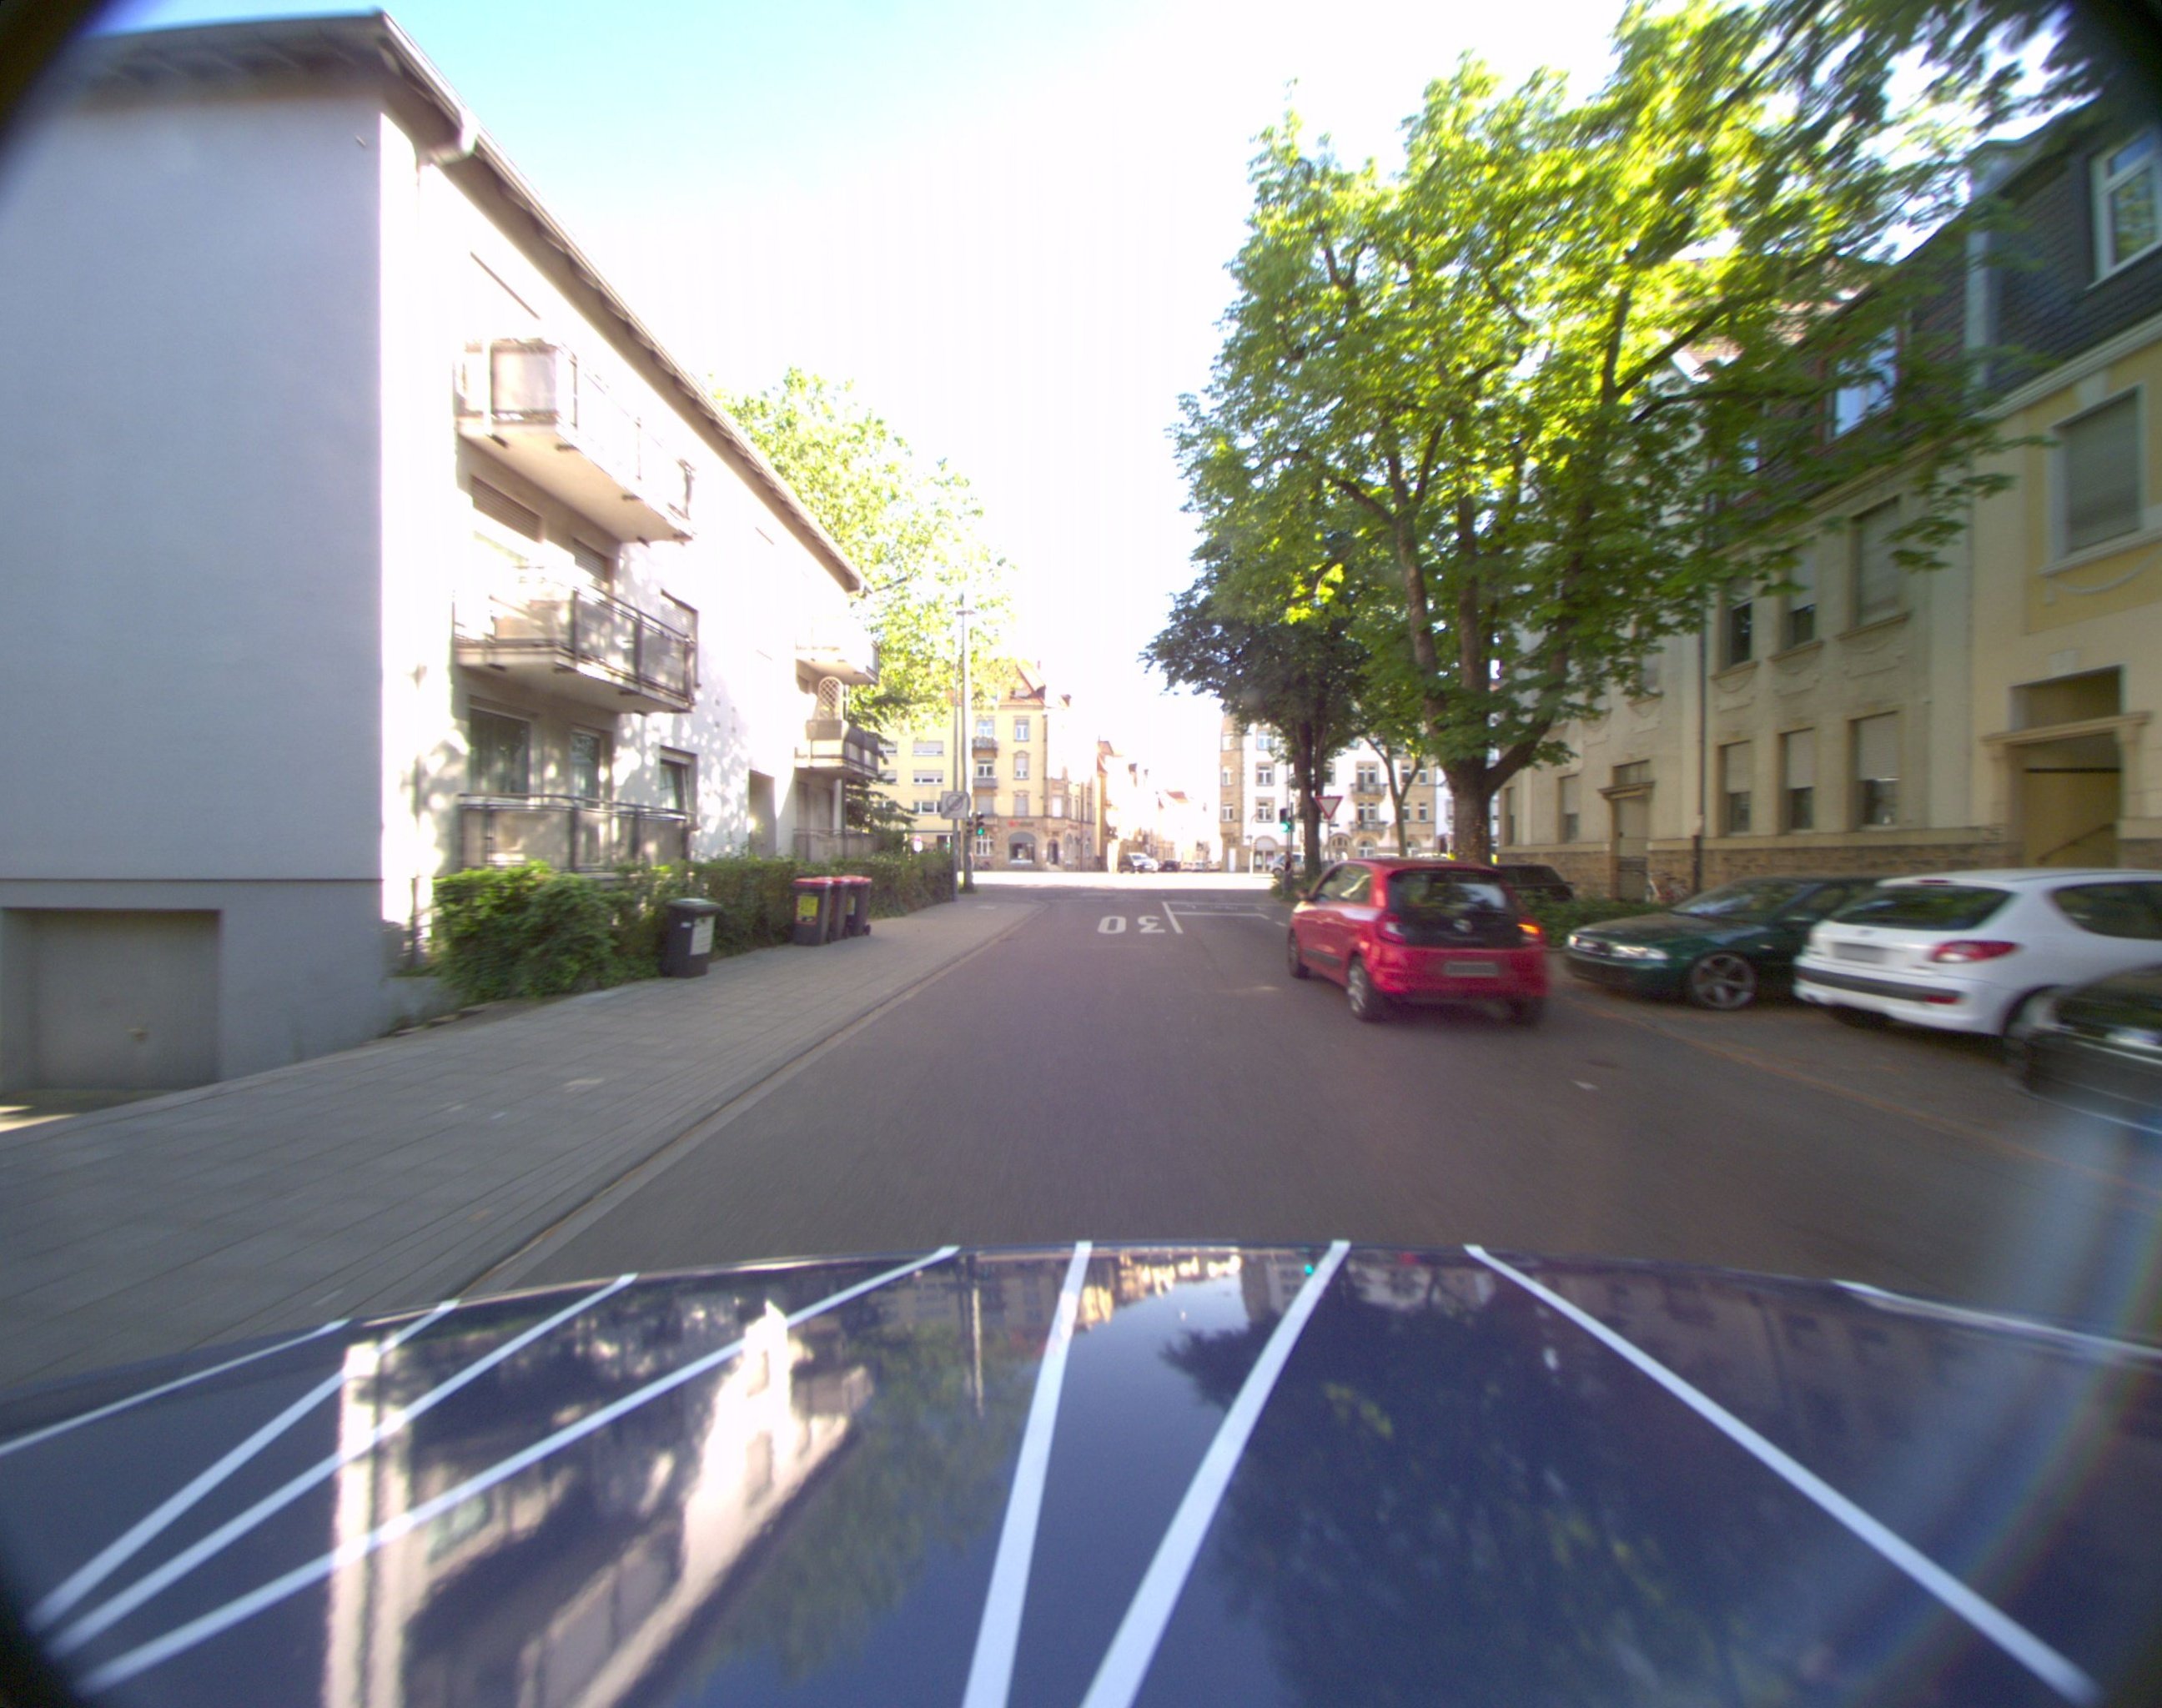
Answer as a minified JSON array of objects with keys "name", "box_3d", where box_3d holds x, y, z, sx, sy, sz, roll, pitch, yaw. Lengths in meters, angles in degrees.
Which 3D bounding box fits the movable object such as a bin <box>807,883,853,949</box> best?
[{"name":"movable object such as a bin","box_3d":[-4.255,1.033,12.901,0.484,1.038,0.657,4,1,2]}]

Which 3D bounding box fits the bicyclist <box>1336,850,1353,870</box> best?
[{"name":"bicyclist","box_3d":[19.760,0.458,57.030,1.073,1.533,0.687,0,0,3]}]

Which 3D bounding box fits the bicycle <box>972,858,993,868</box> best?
[{"name":"bicycle","box_3d":[-9.485,0.896,73.464,1.951,0.970,0.516,0,2,3]}]

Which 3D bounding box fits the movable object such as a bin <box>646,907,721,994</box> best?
[{"name":"movable object such as a bin","box_3d":[-4.686,1.124,8.988,0.504,0.910,0.573,4,1,6]}]

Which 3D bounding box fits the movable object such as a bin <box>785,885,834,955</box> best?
[{"name":"movable object such as a bin","box_3d":[-4.346,1.044,12.175,0.484,1.038,0.618,4,1,2]}]

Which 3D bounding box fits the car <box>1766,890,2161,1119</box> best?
[{"name":"car","box_3d":[7.893,1.057,5.919,3.440,1.444,1.704,0,1,6]}]

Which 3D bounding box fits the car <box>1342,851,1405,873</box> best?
[{"name":"car","box_3d":[22.998,0.640,59.941,4.236,1.634,2.001,0,-1,3]}]

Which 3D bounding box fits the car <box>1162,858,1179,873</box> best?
[{"name":"car","box_3d":[9.673,1.224,82.314,1.664,1.455,3.810,0,0,5]}]

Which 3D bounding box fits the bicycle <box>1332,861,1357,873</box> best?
[{"name":"bicycle","box_3d":[19.764,0.979,57.043,1.635,0.919,0.795,0,-1,3]}]

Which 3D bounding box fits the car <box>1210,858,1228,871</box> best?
[{"name":"car","box_3d":[19.290,1.411,106.396,1.915,1.649,4.352,-3,-1,17]}]

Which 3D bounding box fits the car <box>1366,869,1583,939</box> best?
[{"name":"car","box_3d":[8.438,1.059,16.515,3.893,1.407,1.615,0,0,-2]}]

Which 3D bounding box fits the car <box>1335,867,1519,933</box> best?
[{"name":"car","box_3d":[8.630,1.117,19.226,3.891,1.467,1.616,1,1,4]}]

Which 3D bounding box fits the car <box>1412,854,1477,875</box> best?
[{"name":"car","box_3d":[27.258,0.778,57.009,4.016,1.521,1.767,0,0,3]}]

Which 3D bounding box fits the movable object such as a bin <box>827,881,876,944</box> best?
[{"name":"movable object such as a bin","box_3d":[-4.138,1.038,13.733,0.598,1.038,0.707,4,1,2]}]

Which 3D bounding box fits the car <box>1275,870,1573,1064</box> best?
[{"name":"car","box_3d":[3.331,0.985,8.206,1.645,1.499,3.703,1,0,2]}]

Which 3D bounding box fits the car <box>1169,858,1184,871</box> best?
[{"name":"car","box_3d":[15.488,1.682,122.713,1.831,2.022,3.825,-2,-2,16]}]

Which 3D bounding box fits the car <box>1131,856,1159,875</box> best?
[{"name":"car","box_3d":[4.618,0.825,55.434,1.863,1.346,4.217,1,0,2]}]

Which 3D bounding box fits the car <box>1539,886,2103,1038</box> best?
[{"name":"car","box_3d":[7.547,1.063,8.133,4.221,1.341,1.703,0,1,4]}]

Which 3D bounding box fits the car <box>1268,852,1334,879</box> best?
[{"name":"car","box_3d":[13.167,0.684,45.485,3.607,1.559,1.656,1,0,23]}]

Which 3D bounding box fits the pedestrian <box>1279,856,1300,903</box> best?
[{"name":"pedestrian","box_3d":[7.415,0.898,27.068,0.694,1.672,0.681,0,0,15]}]

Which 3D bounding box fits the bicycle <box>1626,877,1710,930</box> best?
[{"name":"bicycle","box_3d":[13.661,1.120,17.764,0.515,1.147,1.983,-2,-1,4]}]

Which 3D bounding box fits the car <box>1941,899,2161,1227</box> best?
[{"name":"car","box_3d":[7.076,1.032,3.478,3.995,1.474,1.786,1,1,6]}]
